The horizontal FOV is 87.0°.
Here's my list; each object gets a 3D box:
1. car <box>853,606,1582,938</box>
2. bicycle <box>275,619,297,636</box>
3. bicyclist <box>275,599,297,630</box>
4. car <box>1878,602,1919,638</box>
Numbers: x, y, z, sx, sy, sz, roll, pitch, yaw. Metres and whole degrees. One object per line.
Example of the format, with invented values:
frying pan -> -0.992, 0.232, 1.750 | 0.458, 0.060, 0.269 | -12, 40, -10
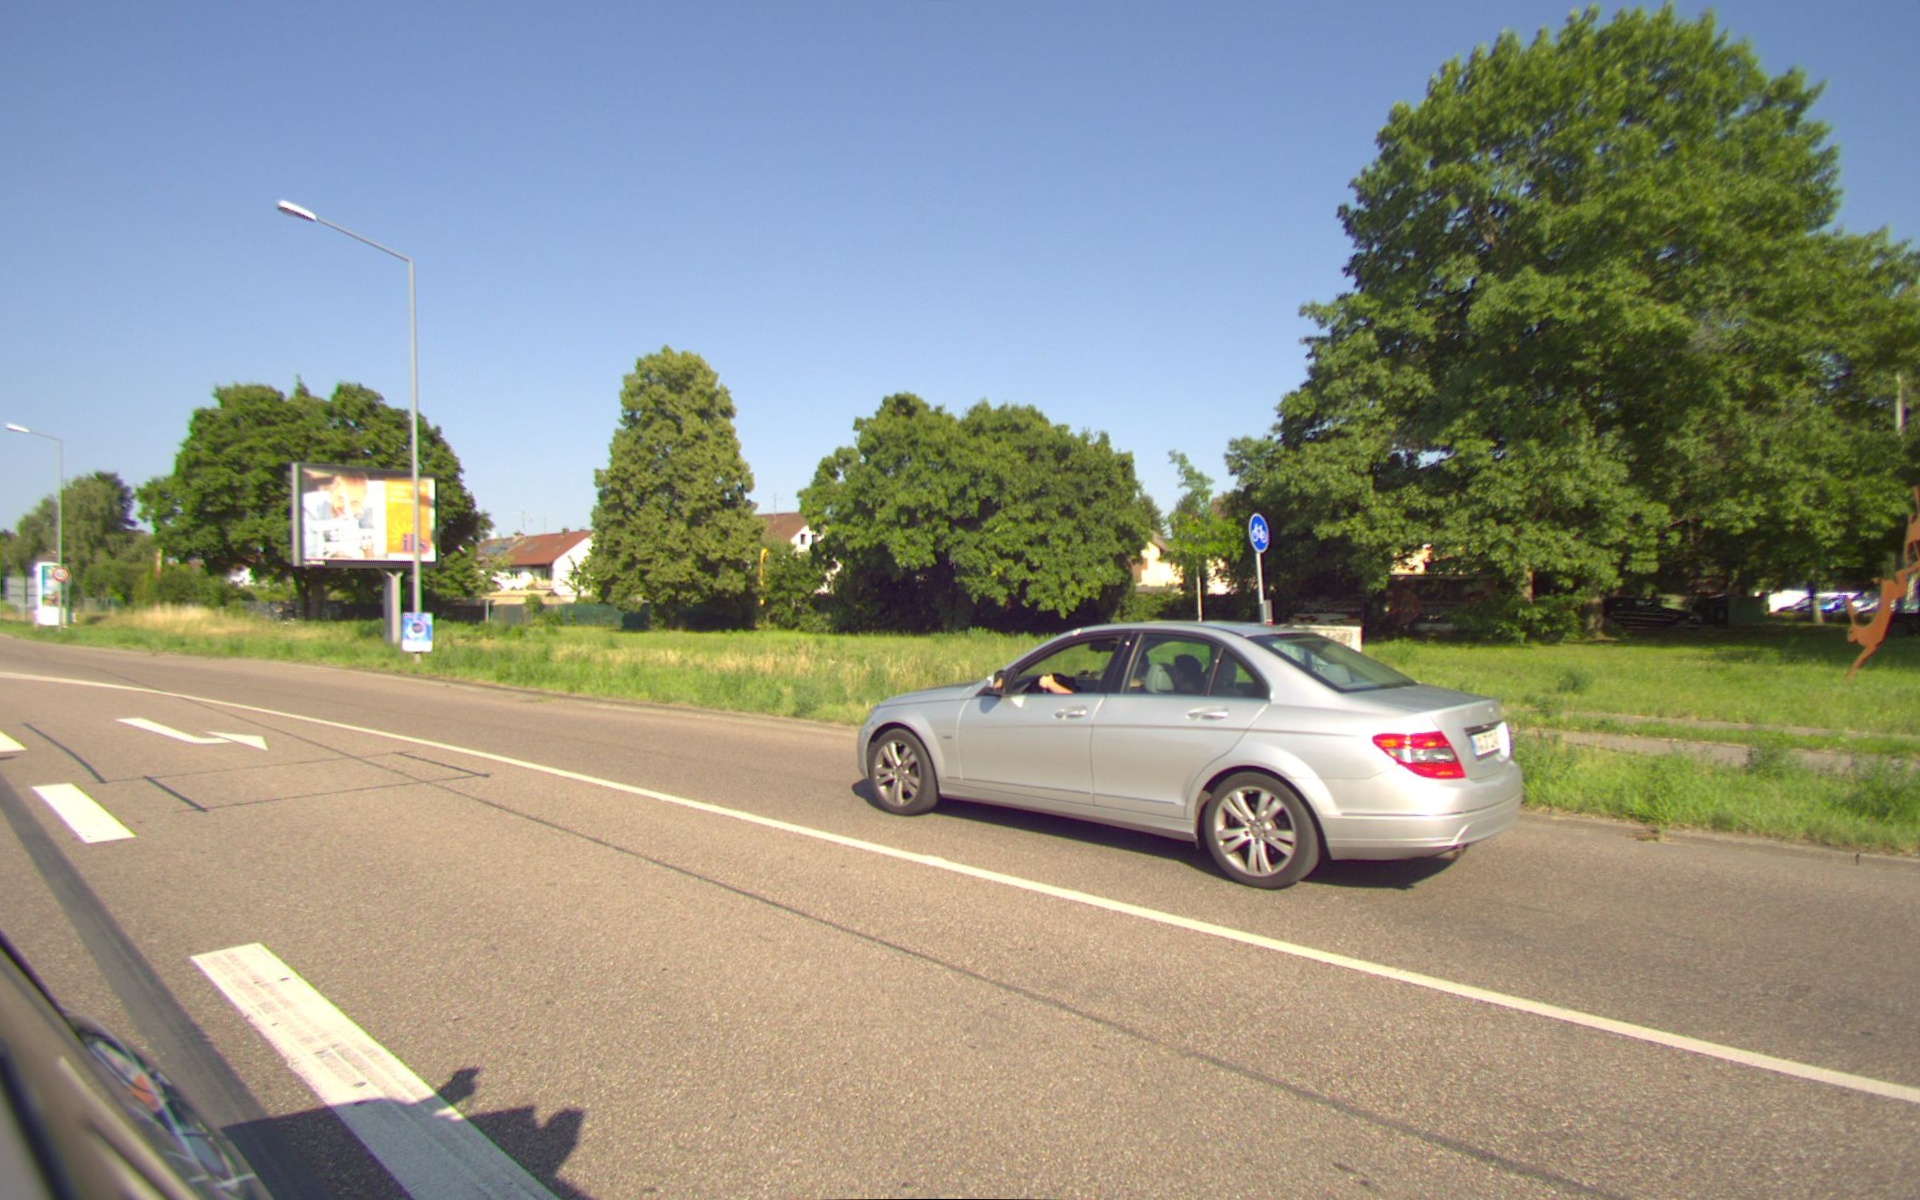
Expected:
car -> 1.381, 0.809, 6.637 | 4.369, 1.476, 1.684 | -1, -2, 43
bicycle -> -31.642, 1.284, 47.493 | 1.834, 0.759, 0.449 | -1, 0, 43
bicyclist -> -31.630, 0.661, 47.472 | 1.071, 1.439, 0.630 | -1, 0, 42
car -> 36.025, 0.716, 35.973 | 1.499, 1.330, 4.786 | 0, 0, -26
